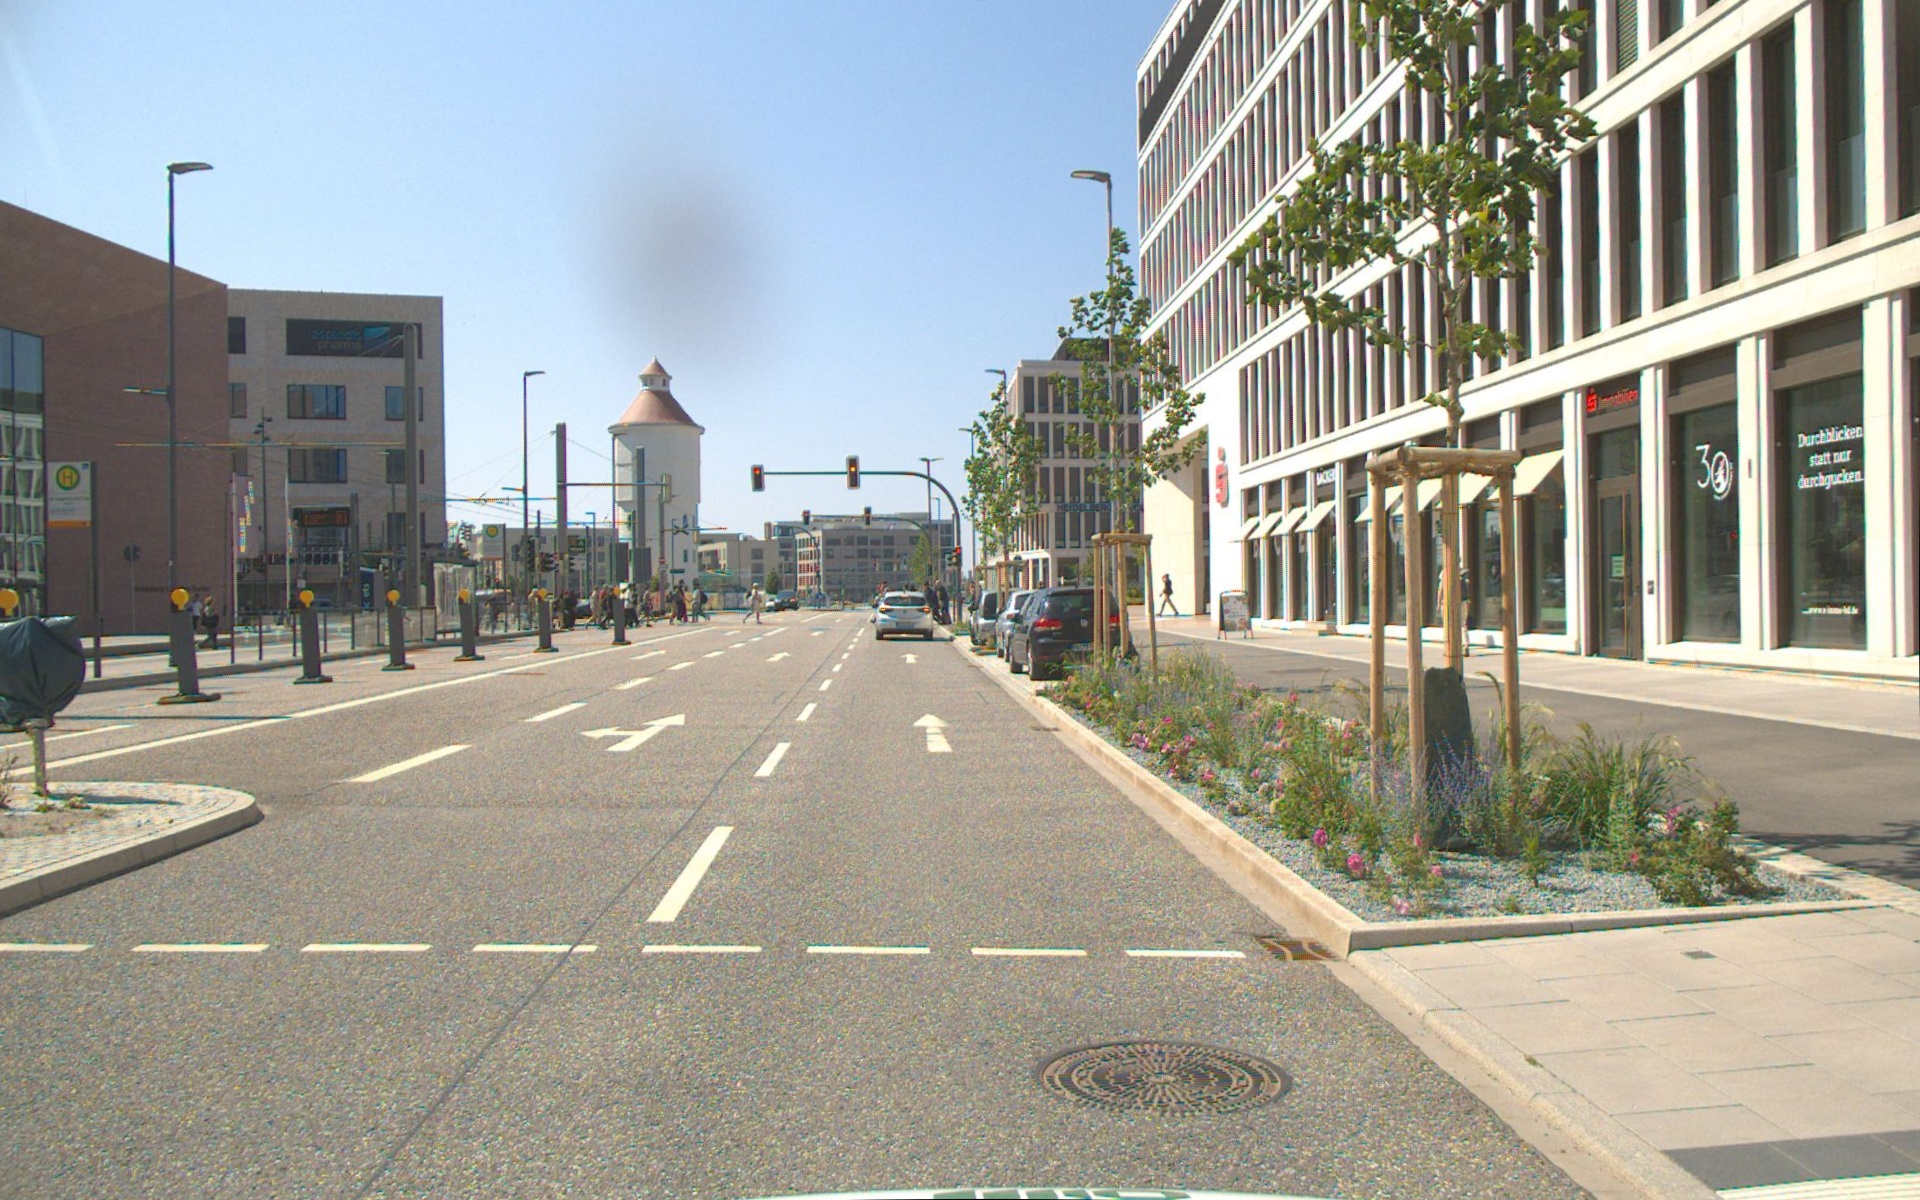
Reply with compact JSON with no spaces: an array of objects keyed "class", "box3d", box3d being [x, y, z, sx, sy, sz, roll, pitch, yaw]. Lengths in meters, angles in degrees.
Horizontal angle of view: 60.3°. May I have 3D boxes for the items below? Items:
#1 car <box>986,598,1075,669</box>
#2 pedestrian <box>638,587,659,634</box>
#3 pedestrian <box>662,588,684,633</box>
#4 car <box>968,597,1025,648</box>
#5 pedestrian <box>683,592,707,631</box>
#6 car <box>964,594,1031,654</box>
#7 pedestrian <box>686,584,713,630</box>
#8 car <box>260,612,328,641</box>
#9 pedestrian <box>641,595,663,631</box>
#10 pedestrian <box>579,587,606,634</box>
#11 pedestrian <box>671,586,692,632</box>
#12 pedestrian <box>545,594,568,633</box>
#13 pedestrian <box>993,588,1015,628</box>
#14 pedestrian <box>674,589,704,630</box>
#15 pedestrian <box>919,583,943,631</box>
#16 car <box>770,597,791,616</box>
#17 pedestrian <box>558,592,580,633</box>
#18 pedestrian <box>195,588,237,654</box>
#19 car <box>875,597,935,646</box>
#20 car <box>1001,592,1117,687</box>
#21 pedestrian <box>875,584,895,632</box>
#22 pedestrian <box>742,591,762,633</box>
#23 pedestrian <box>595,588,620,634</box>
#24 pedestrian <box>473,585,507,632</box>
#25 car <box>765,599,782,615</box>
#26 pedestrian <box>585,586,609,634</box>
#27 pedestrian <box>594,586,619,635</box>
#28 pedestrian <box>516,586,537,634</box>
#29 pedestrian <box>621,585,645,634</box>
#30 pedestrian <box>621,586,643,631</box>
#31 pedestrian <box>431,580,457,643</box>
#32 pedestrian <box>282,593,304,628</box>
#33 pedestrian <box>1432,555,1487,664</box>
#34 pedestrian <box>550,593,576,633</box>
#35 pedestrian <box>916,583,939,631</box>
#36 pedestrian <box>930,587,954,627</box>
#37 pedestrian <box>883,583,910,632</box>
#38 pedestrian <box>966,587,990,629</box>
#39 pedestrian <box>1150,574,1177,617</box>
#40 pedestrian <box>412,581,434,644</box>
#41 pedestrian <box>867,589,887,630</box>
[{"class":"car","box3d":[1.483,0.682,35.867,1.573,1.412,3.813,-2,0,-2]},{"class":"pedestrian","box3d":[-13.018,0.434,69.091,0.751,1.923,0.691,-1,0,-2]},{"class":"pedestrian","box3d":[-12.333,0.439,71.009,0.824,1.923,0.691,-1,0,-2]},{"class":"car","box3d":[1.038,0.627,48.517,1.401,1.414,3.998,-1,0,-3]},{"class":"pedestrian","box3d":[-11.770,0.488,73.491,0.880,1.703,1.007,-1,0,-21]},{"class":"car","box3d":[0.963,0.611,43.774,1.525,1.498,3.468,-1,0,-3]},{"class":"pedestrian","box3d":[-11.728,0.319,74.555,1.005,2.049,0.948,-1,0,-21]},{"class":"car","box3d":[-43.336,1.704,107.707,3.875,1.848,1.791,0,-1,-15]},{"class":"pedestrian","box3d":[-14.265,0.598,76.607,0.869,1.675,0.796,-1,0,1]},{"class":"pedestrian","box3d":[-15.297,0.441,68.825,0.869,1.923,0.796,-1,0,2]},{"class":"pedestrian","box3d":[-11.807,0.395,70.098,0.751,1.923,0.691,-1,0,-2]},{"class":"pedestrian","box3d":[-16.702,0.562,68.466,0.713,1.603,0.641,-1,0,2]},{"class":"pedestrian","box3d":[1.829,0.337,68.077,0.750,1.648,0.692,-1,0,14]},{"class":"pedestrian","box3d":[-12.481,0.443,76.075,1.156,1.852,1.069,-1,0,1]},{"class":"pedestrian","box3d":[-1.180,0.270,66.900,0.871,1.923,0.795,-1,0,-7]},{"class":"car","box3d":[-15.127,0.530,139.570,1.555,1.557,3.690,0,-1,-4]},{"class":"pedestrian","box3d":[-15.770,0.508,66.739,0.620,1.646,0.768,-1,0,3]},{"class":"pedestrian","box3d":[-21.083,0.597,46.869,0.794,1.852,0.825,1,0,-2]},{"class":"car","box3d":[-1.661,0.685,51.144,1.735,1.419,3.531,1,-1,-1]},{"class":"car","box3d":[1.625,0.645,28.373,1.701,1.500,3.979,0,-1,-1]},{"class":"pedestrian","box3d":[-3.027,0.312,66.955,0.715,1.923,0.821,-1,0,3]},{"class":"pedestrian","box3d":[-8.974,0.509,71.313,0.751,1.764,0.691,-1,0,-2]},{"class":"pedestrian","box3d":[-14.843,0.467,69.688,0.870,1.923,0.796,-1,0,-3]},{"class":"pedestrian","box3d":[-20.118,0.361,70.824,1.145,1.923,1.059,-1,1,-1]},{"class":"car","box3d":[-18.620,0.709,164.859,1.555,1.557,3.254,0,-1,-5]},{"class":"pedestrian","box3d":[-14.728,0.406,67.191,0.871,1.923,0.690,-1,0,-8]},{"class":"pedestrian","box3d":[-13.926,0.400,65.153,0.871,1.923,0.690,-1,0,-8]},{"class":"pedestrian","box3d":[-17.270,0.397,65.913,0.623,1.923,0.796,-1,0,-1]},{"class":"pedestrian","box3d":[-13.038,0.377,65.978,0.871,1.923,0.690,-1,0,-8]},{"class":"pedestrian","box3d":[-14.165,0.369,71.410,0.719,1.923,0.714,1,0,2]},{"class":"pedestrian","box3d":[-15.411,0.347,49.389,0.654,1.852,0.717,1,0,-25]},{"class":"pedestrian","box3d":[-30.601,0.492,75.885,0.697,1.599,0.890,-1,0,-3]},{"class":"pedestrian","box3d":[8.270,0.151,27.392,0.615,1.773,0.814,-1,0,-3]},{"class":"pedestrian","box3d":[-16.899,0.546,70.414,0.891,1.665,0.814,-1,0,2]},{"class":"pedestrian","box3d":[-1.332,0.284,67.735,0.871,1.923,0.795,-1,0,-7]},{"class":"pedestrian","box3d":[-0.783,0.296,70.709,0.872,1.675,0.794,-1,0,-12]},{"class":"pedestrian","box3d":[-2.535,0.281,66.008,0.993,1.923,0.797,-1,0,-5]},{"class":"pedestrian","box3d":[0.719,0.324,67.121,0.871,1.663,0.690,-1,0,-8]},{"class":"pedestrian","box3d":[8.064,-0.164,65.589,0.970,1.684,0.691,-1,0,-1]},{"class":"pedestrian","box3d":[-15.805,0.370,48.677,0.542,1.852,0.596,1,0,-24]},{"class":"pedestrian","box3d":[-3.412,0.391,67.898,0.777,1.675,0.890,-1,0,0]}]
